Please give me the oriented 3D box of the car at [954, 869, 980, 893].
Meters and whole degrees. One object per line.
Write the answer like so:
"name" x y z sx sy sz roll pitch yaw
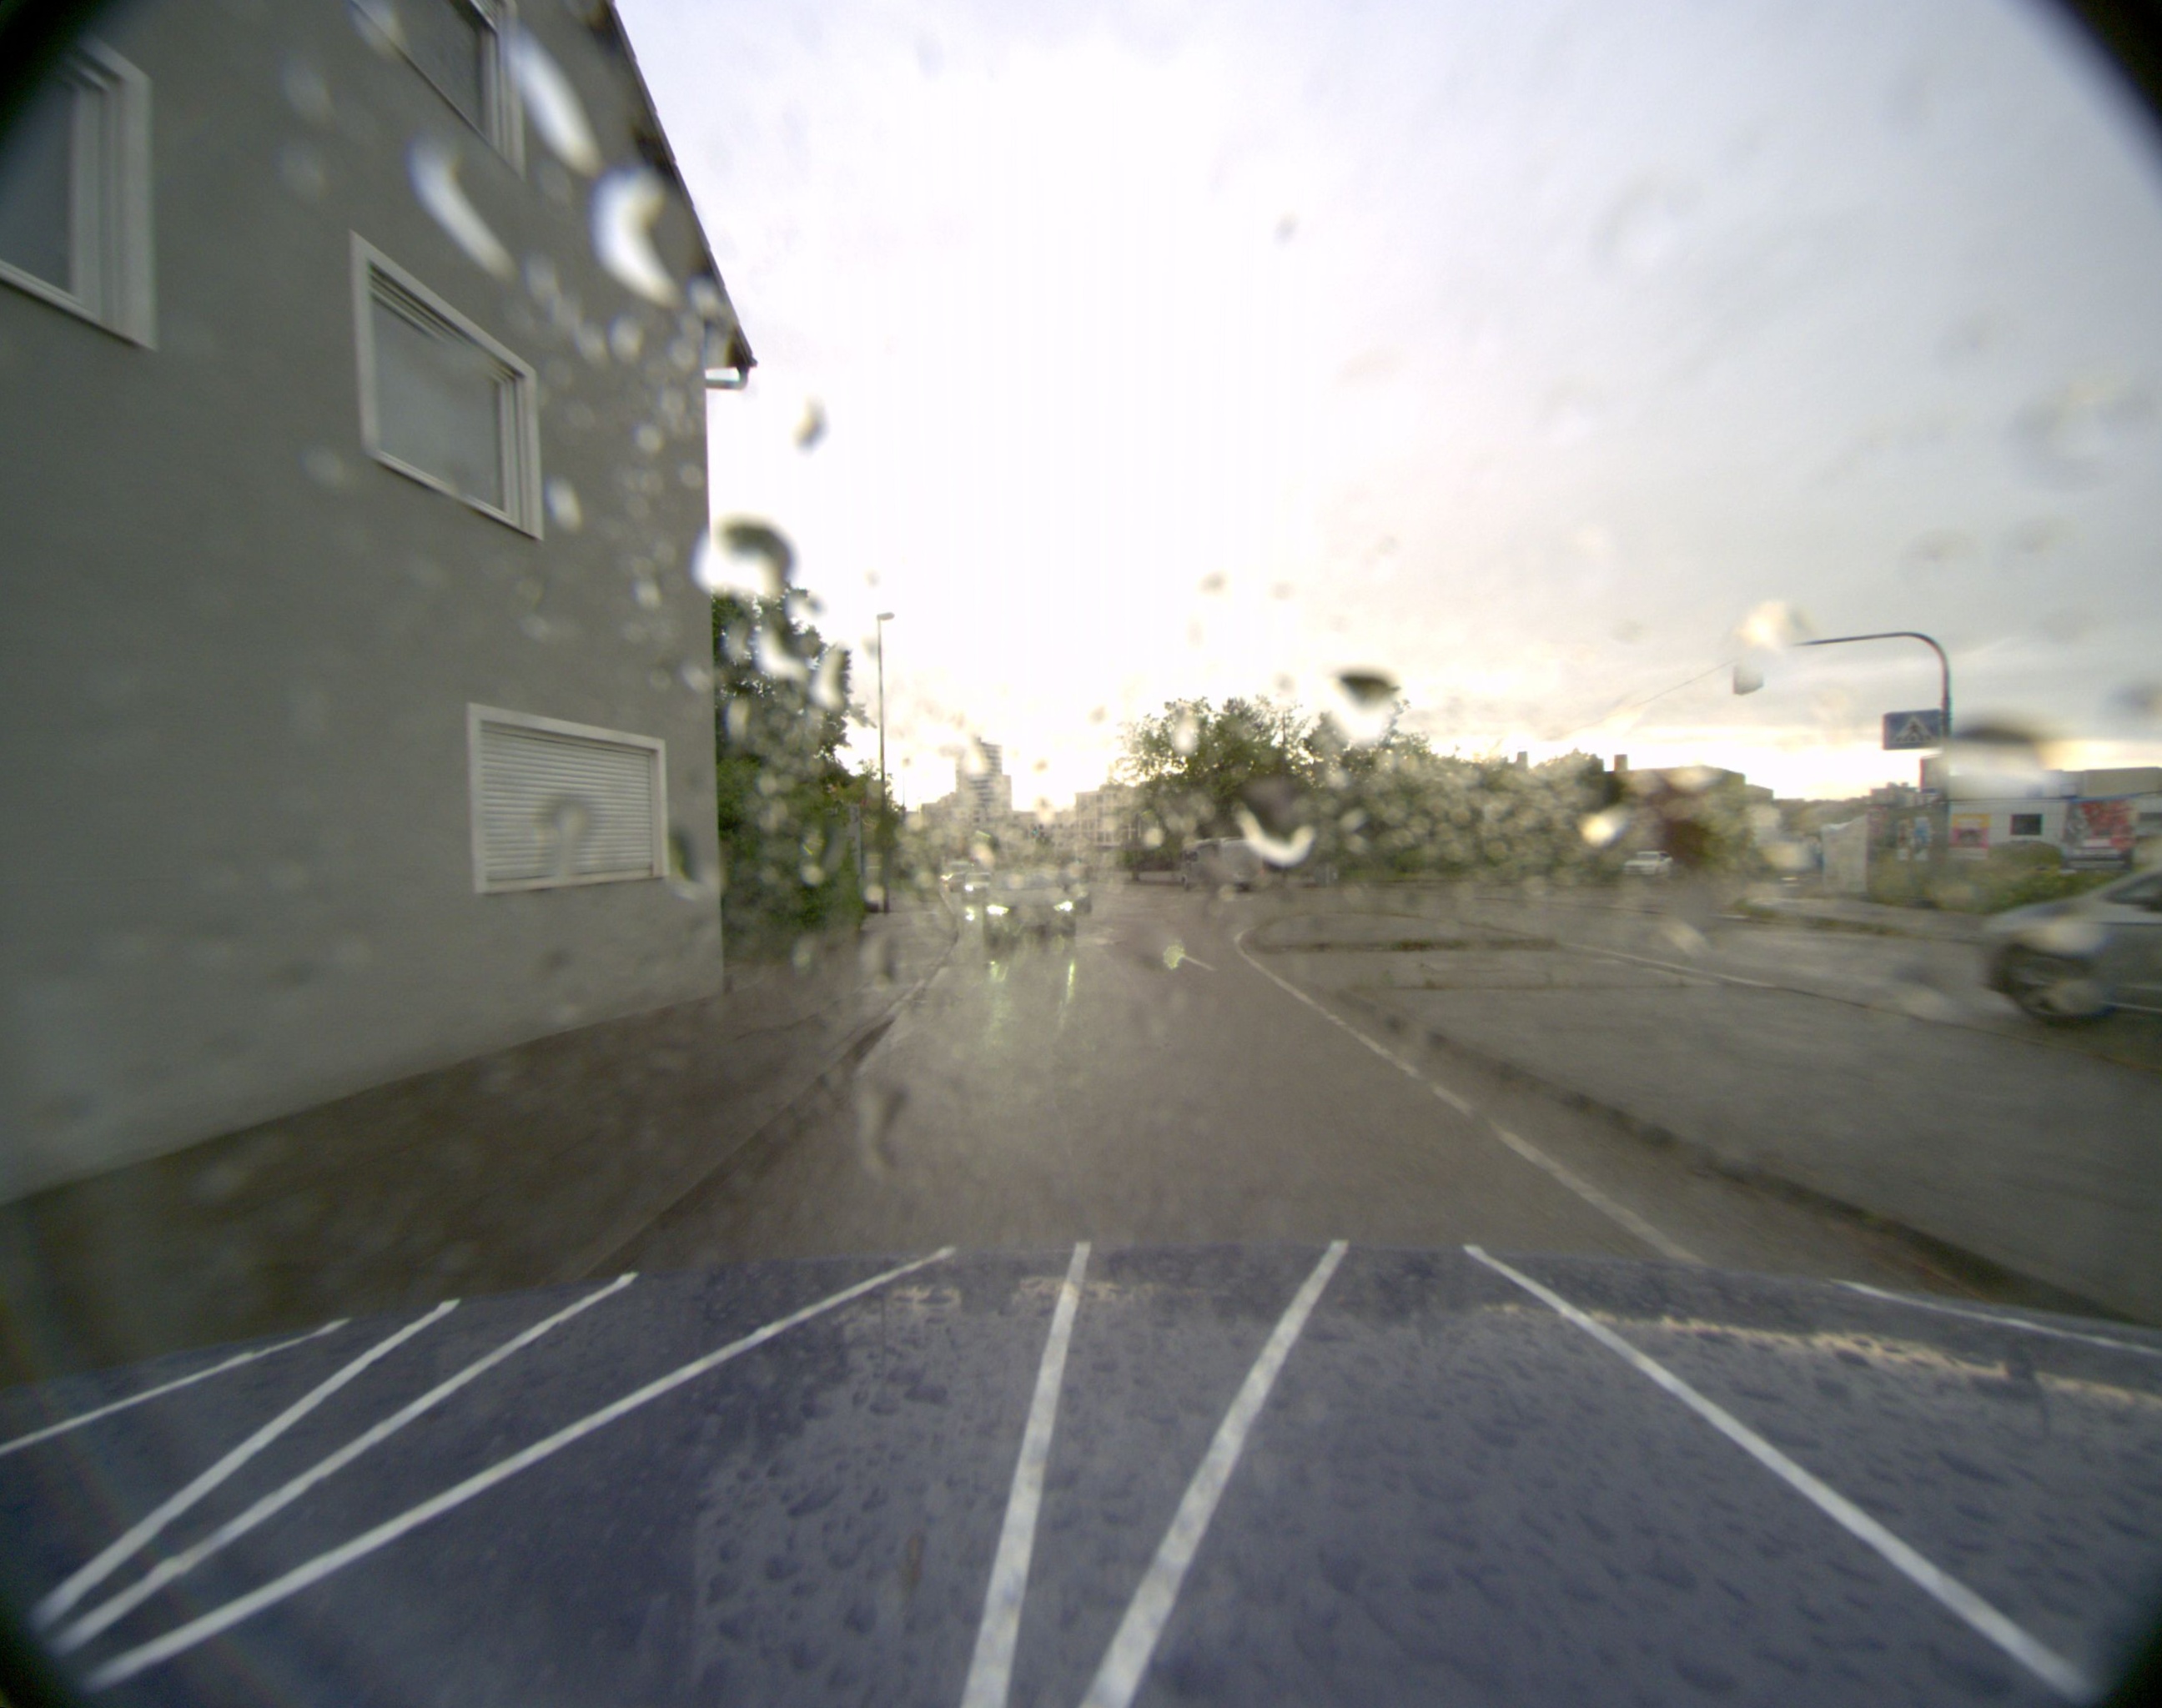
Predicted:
"car" -9.004 2.114 59.705 1.902 1.713 4.461 -2 -1 -9

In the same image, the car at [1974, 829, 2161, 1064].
"car" 7.883 0.621 4.080 1.647 1.543 4.156 -1 1 8

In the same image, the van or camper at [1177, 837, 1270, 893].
"van or camper" 7.285 0.541 39.902 2.375 2.640 7.013 -2 0 -10

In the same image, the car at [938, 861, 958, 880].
"car" -14.968 1.887 85.483 2.032 1.924 4.941 -2 -1 -11

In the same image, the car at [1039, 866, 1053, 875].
"car" -5.916 2.743 127.994 1.819 1.506 3.997 -1 0 -8

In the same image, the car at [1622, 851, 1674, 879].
"car" 36.223 0.706 48.489 4.301 1.598 1.697 -2 1 -40

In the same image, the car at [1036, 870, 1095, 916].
"car" -0.483 1.281 26.140 1.790 1.339 4.945 -2 -1 0

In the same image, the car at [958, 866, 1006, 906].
"car" -5.159 1.593 39.059 1.902 1.649 4.938 -5 1 -13

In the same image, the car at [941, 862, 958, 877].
"car" -18.028 2.206 103.981 2.032 1.924 4.941 -2 -1 -11

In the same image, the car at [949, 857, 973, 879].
"car" -11.543 1.384 72.695 2.032 1.924 4.941 -2 -1 -11

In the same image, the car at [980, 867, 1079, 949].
"car" -1.310 1.098 17.251 1.839 1.505 4.845 -3 -1 -8
